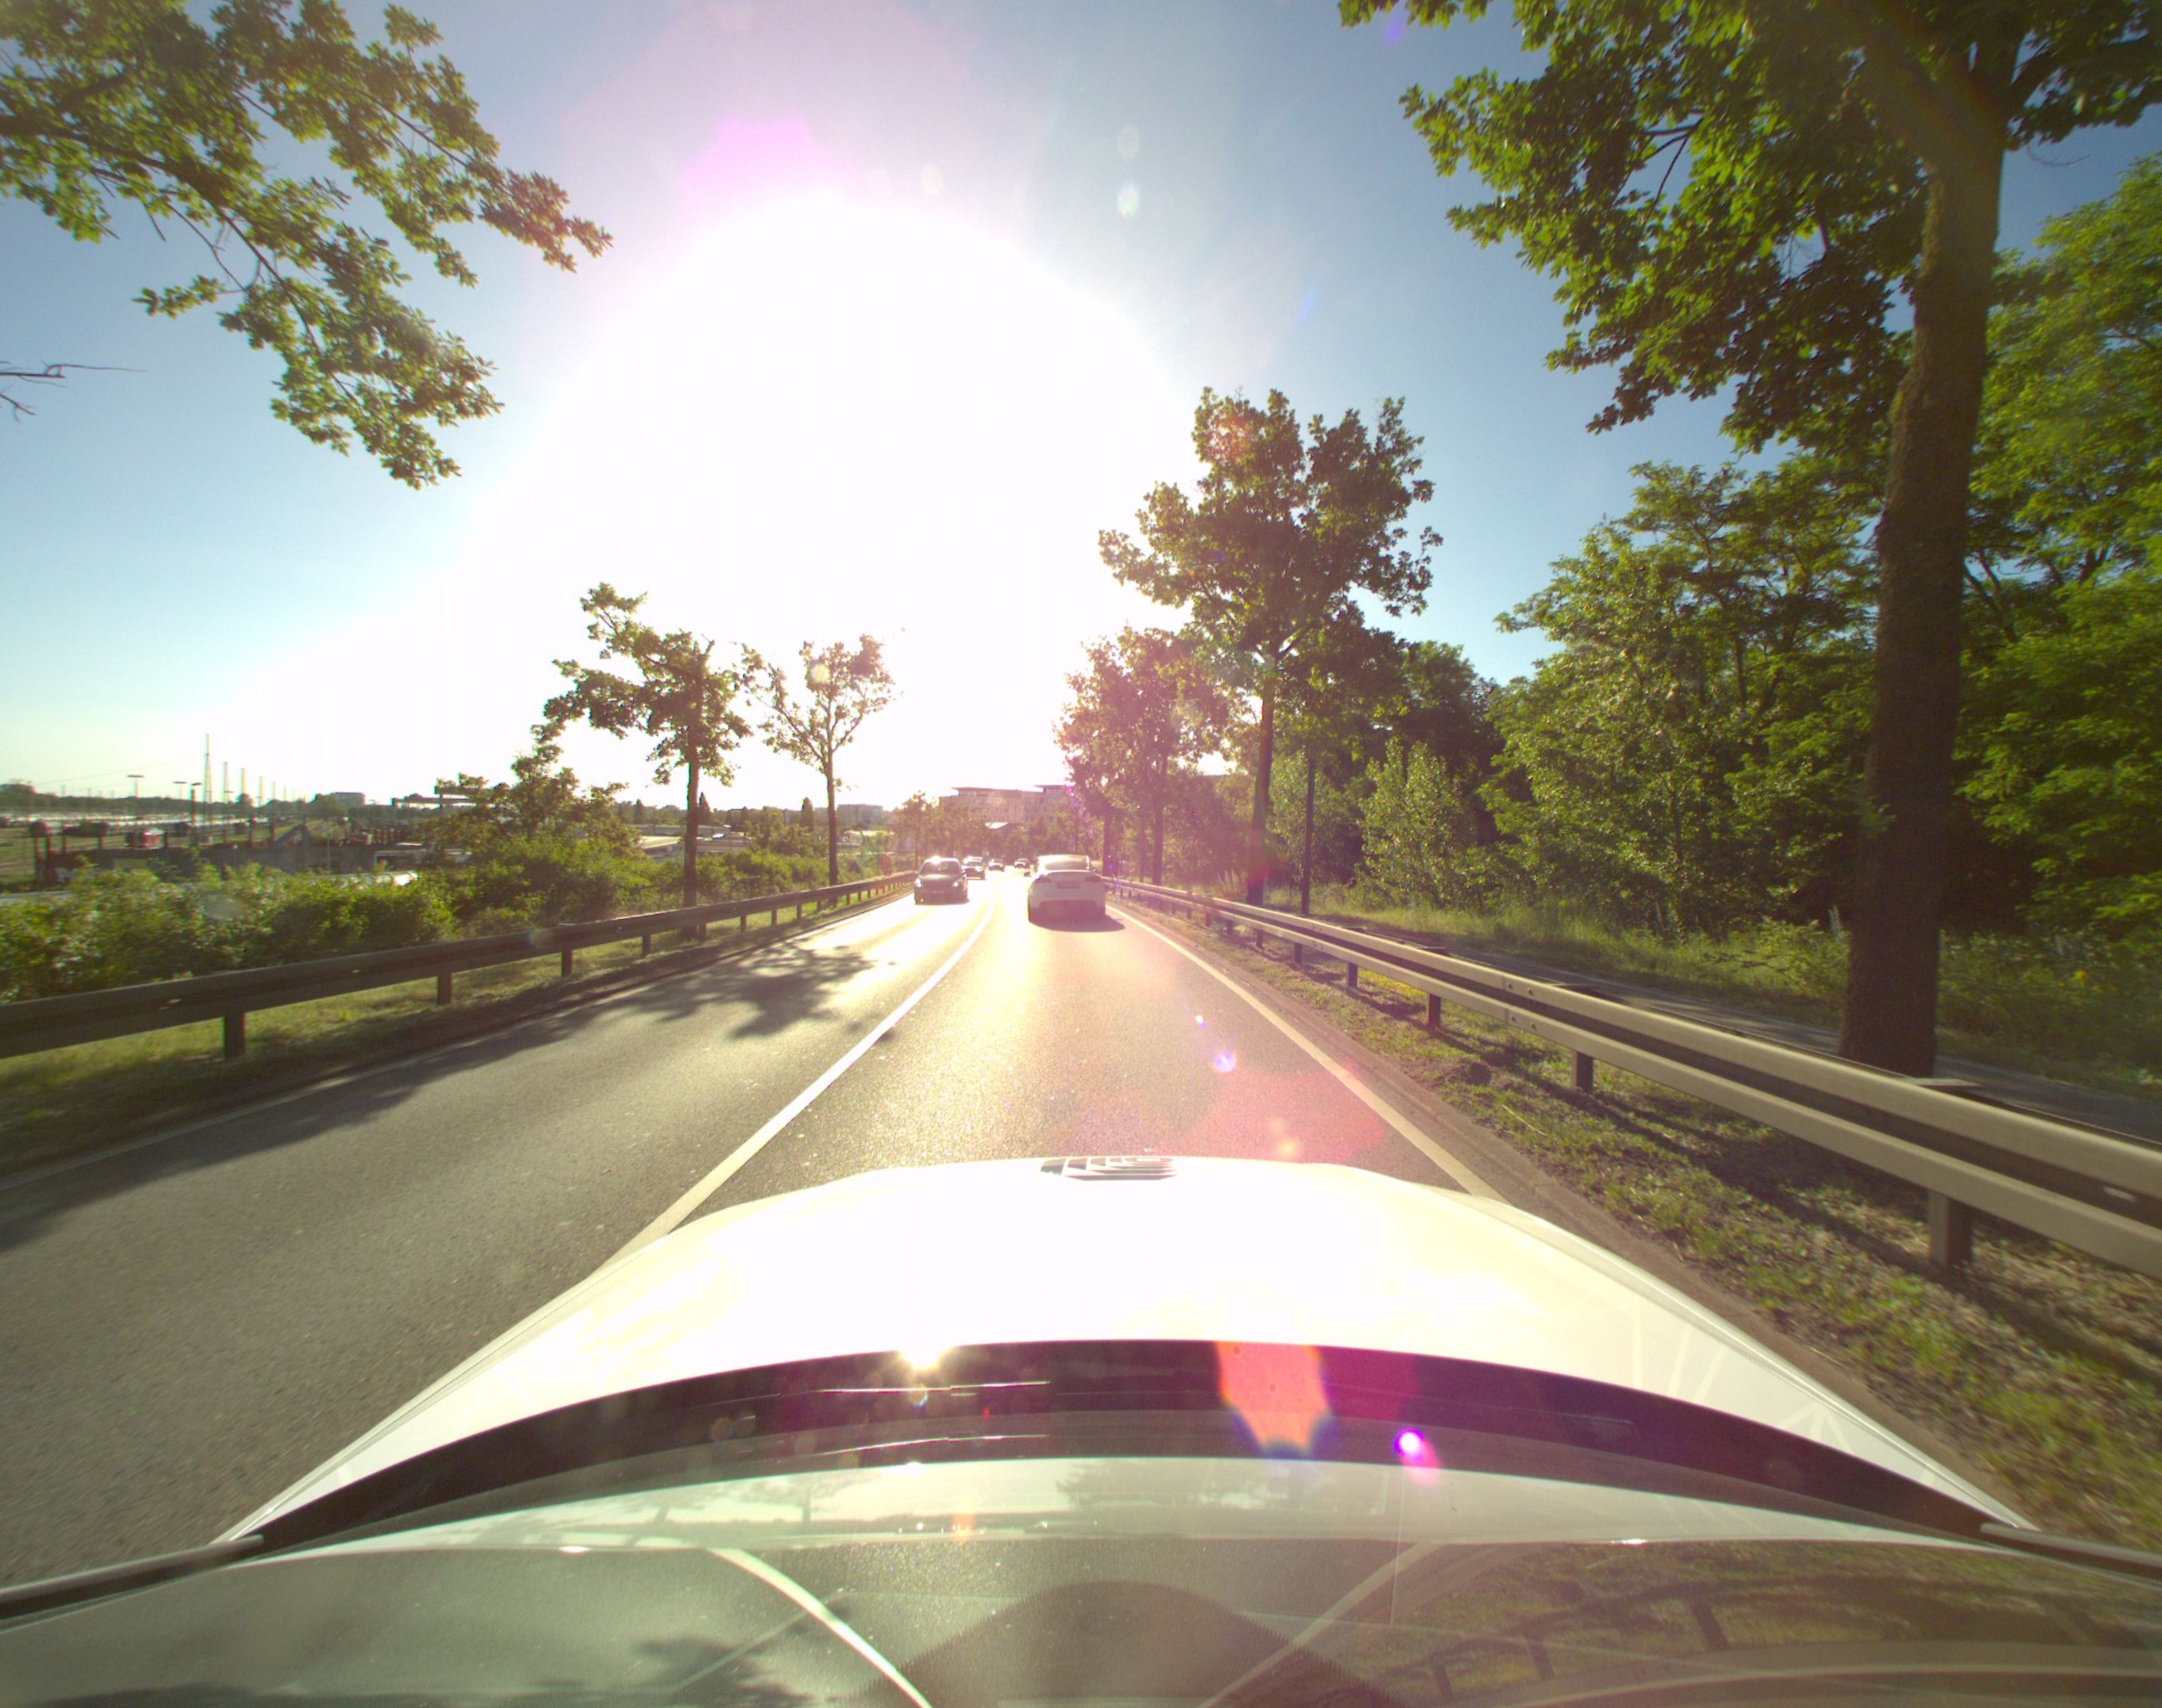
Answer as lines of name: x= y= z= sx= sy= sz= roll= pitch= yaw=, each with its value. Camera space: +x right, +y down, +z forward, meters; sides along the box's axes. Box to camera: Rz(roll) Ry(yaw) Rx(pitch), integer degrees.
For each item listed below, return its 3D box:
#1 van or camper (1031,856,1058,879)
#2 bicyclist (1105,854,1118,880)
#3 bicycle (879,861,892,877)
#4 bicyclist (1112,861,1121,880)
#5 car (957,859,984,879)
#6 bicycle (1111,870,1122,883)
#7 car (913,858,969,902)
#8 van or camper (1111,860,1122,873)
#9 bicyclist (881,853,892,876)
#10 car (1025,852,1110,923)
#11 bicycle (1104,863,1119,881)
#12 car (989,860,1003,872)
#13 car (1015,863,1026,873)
van or camper: x=-3.096 y=1.137 z=69.650 sx=1.951 sy=1.884 sz=4.881 roll=0 pitch=0 yaw=1
bicyclist: x=1.912 y=0.796 z=50.720 sx=0.703 sy=1.578 sz=1.006 roll=0 pitch=-3 yaw=7
bicycle: x=-14.124 y=1.082 z=58.990 sx=0.659 sy=1.095 sz=2.103 roll=0 pitch=0 yaw=-6
bicyclist: x=3.368 y=1.519 z=77.015 sx=0.670 sy=1.776 sz=0.951 roll=0 pitch=0 yaw=13
car: x=-8.398 y=1.105 z=62.093 sx=1.847 sy=1.492 sz=4.706 roll=0 pitch=0 yaw=-6
bicycle: x=3.355 y=2.120 z=76.979 sx=0.690 sy=1.095 sz=2.125 roll=0 pitch=0 yaw=13
car: x=-5.256 y=0.937 z=30.962 sx=1.807 sy=1.554 sz=4.132 roll=0 pitch=0 yaw=-6
van or camper: x=6.004 y=2.097 z=138.244 sx=1.819 sy=1.790 sz=4.547 roll=3 pitch=2 yaw=1
bicyclist: x=-14.121 y=0.743 z=59.101 sx=0.651 sy=1.623 sz=0.872 roll=0 pitch=0 yaw=-7
car: x=-0.463 y=0.781 z=21.234 sx=1.911 sy=1.641 sz=4.402 roll=0 pitch=0 yaw=-5
bicycle: x=1.895 y=1.108 z=50.595 sx=0.697 sy=1.074 sz=1.925 roll=0 pitch=-2 yaw=8
car: x=-10.489 y=1.503 z=100.735 sx=1.688 sy=1.441 sz=4.209 roll=0 pitch=0 yaw=-5
car: x=-9.461 y=2.125 z=127.390 sx=1.806 sy=1.496 sz=4.362 roll=0 pitch=0 yaw=-4
